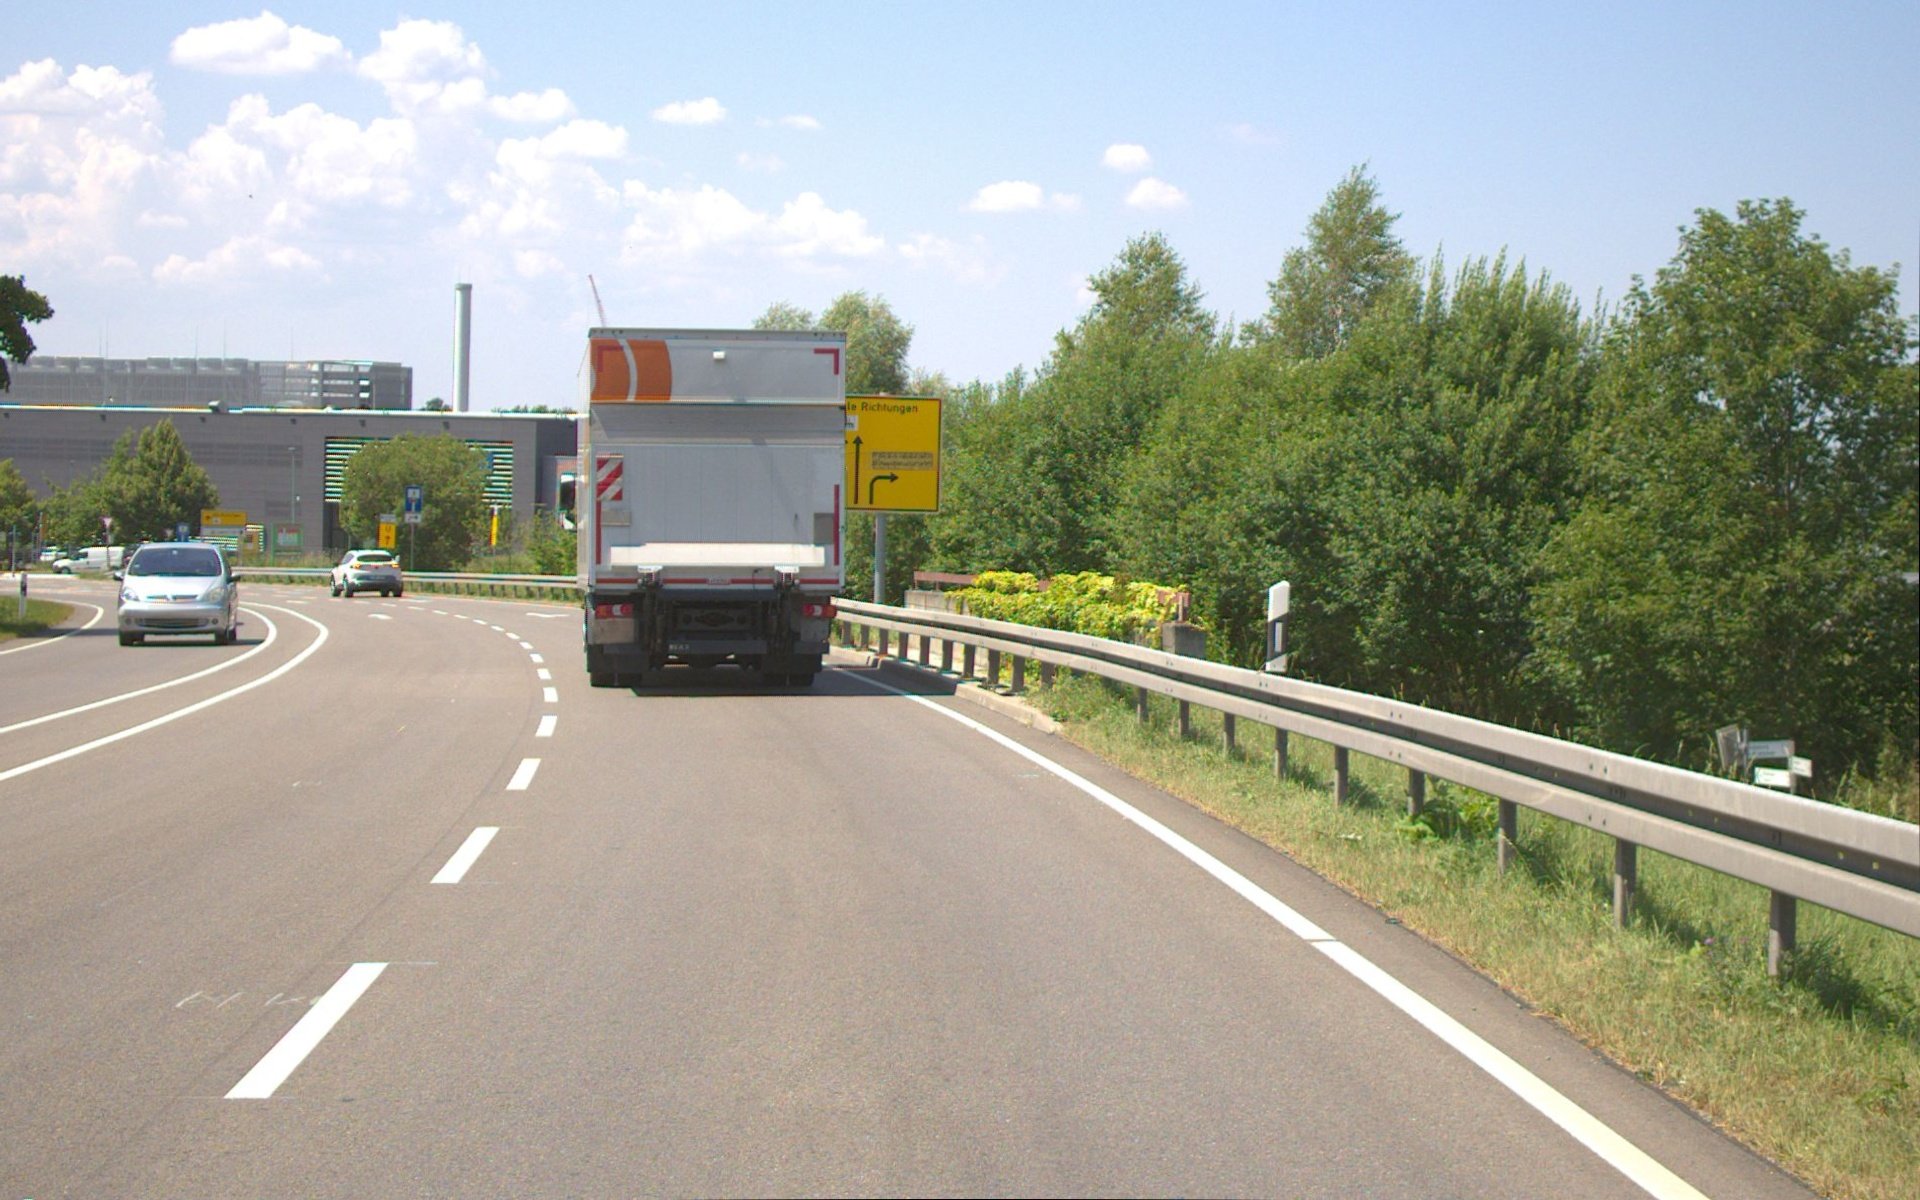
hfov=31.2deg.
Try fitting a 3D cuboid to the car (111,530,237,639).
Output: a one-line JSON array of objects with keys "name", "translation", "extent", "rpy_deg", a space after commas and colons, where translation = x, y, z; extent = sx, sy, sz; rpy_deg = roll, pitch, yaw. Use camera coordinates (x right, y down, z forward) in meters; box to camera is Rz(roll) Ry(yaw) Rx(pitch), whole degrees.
[{"name": "car", "translation": [-12.418, -0.278, 54.290], "extent": [1.836, 1.587, 4.818], "rpy_deg": [1, 1, -13]}]

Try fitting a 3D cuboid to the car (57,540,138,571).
[{"name": "car", "translation": [-55.056, -2.862, 219.486], "extent": [4.744, 1.925, 2.154], "rpy_deg": [0, 1, -6]}]

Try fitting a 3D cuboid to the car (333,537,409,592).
[{"name": "car", "translation": [-18.976, -1.126, 110.655], "extent": [1.943, 1.658, 4.001], "rpy_deg": [2, 0, -15]}]

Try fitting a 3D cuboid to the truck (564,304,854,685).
[{"name": "truck", "translation": [-2.766, -1.143, 38.114], "extent": [2.803, 3.698, 9.109], "rpy_deg": [0, 1, -4]}]
